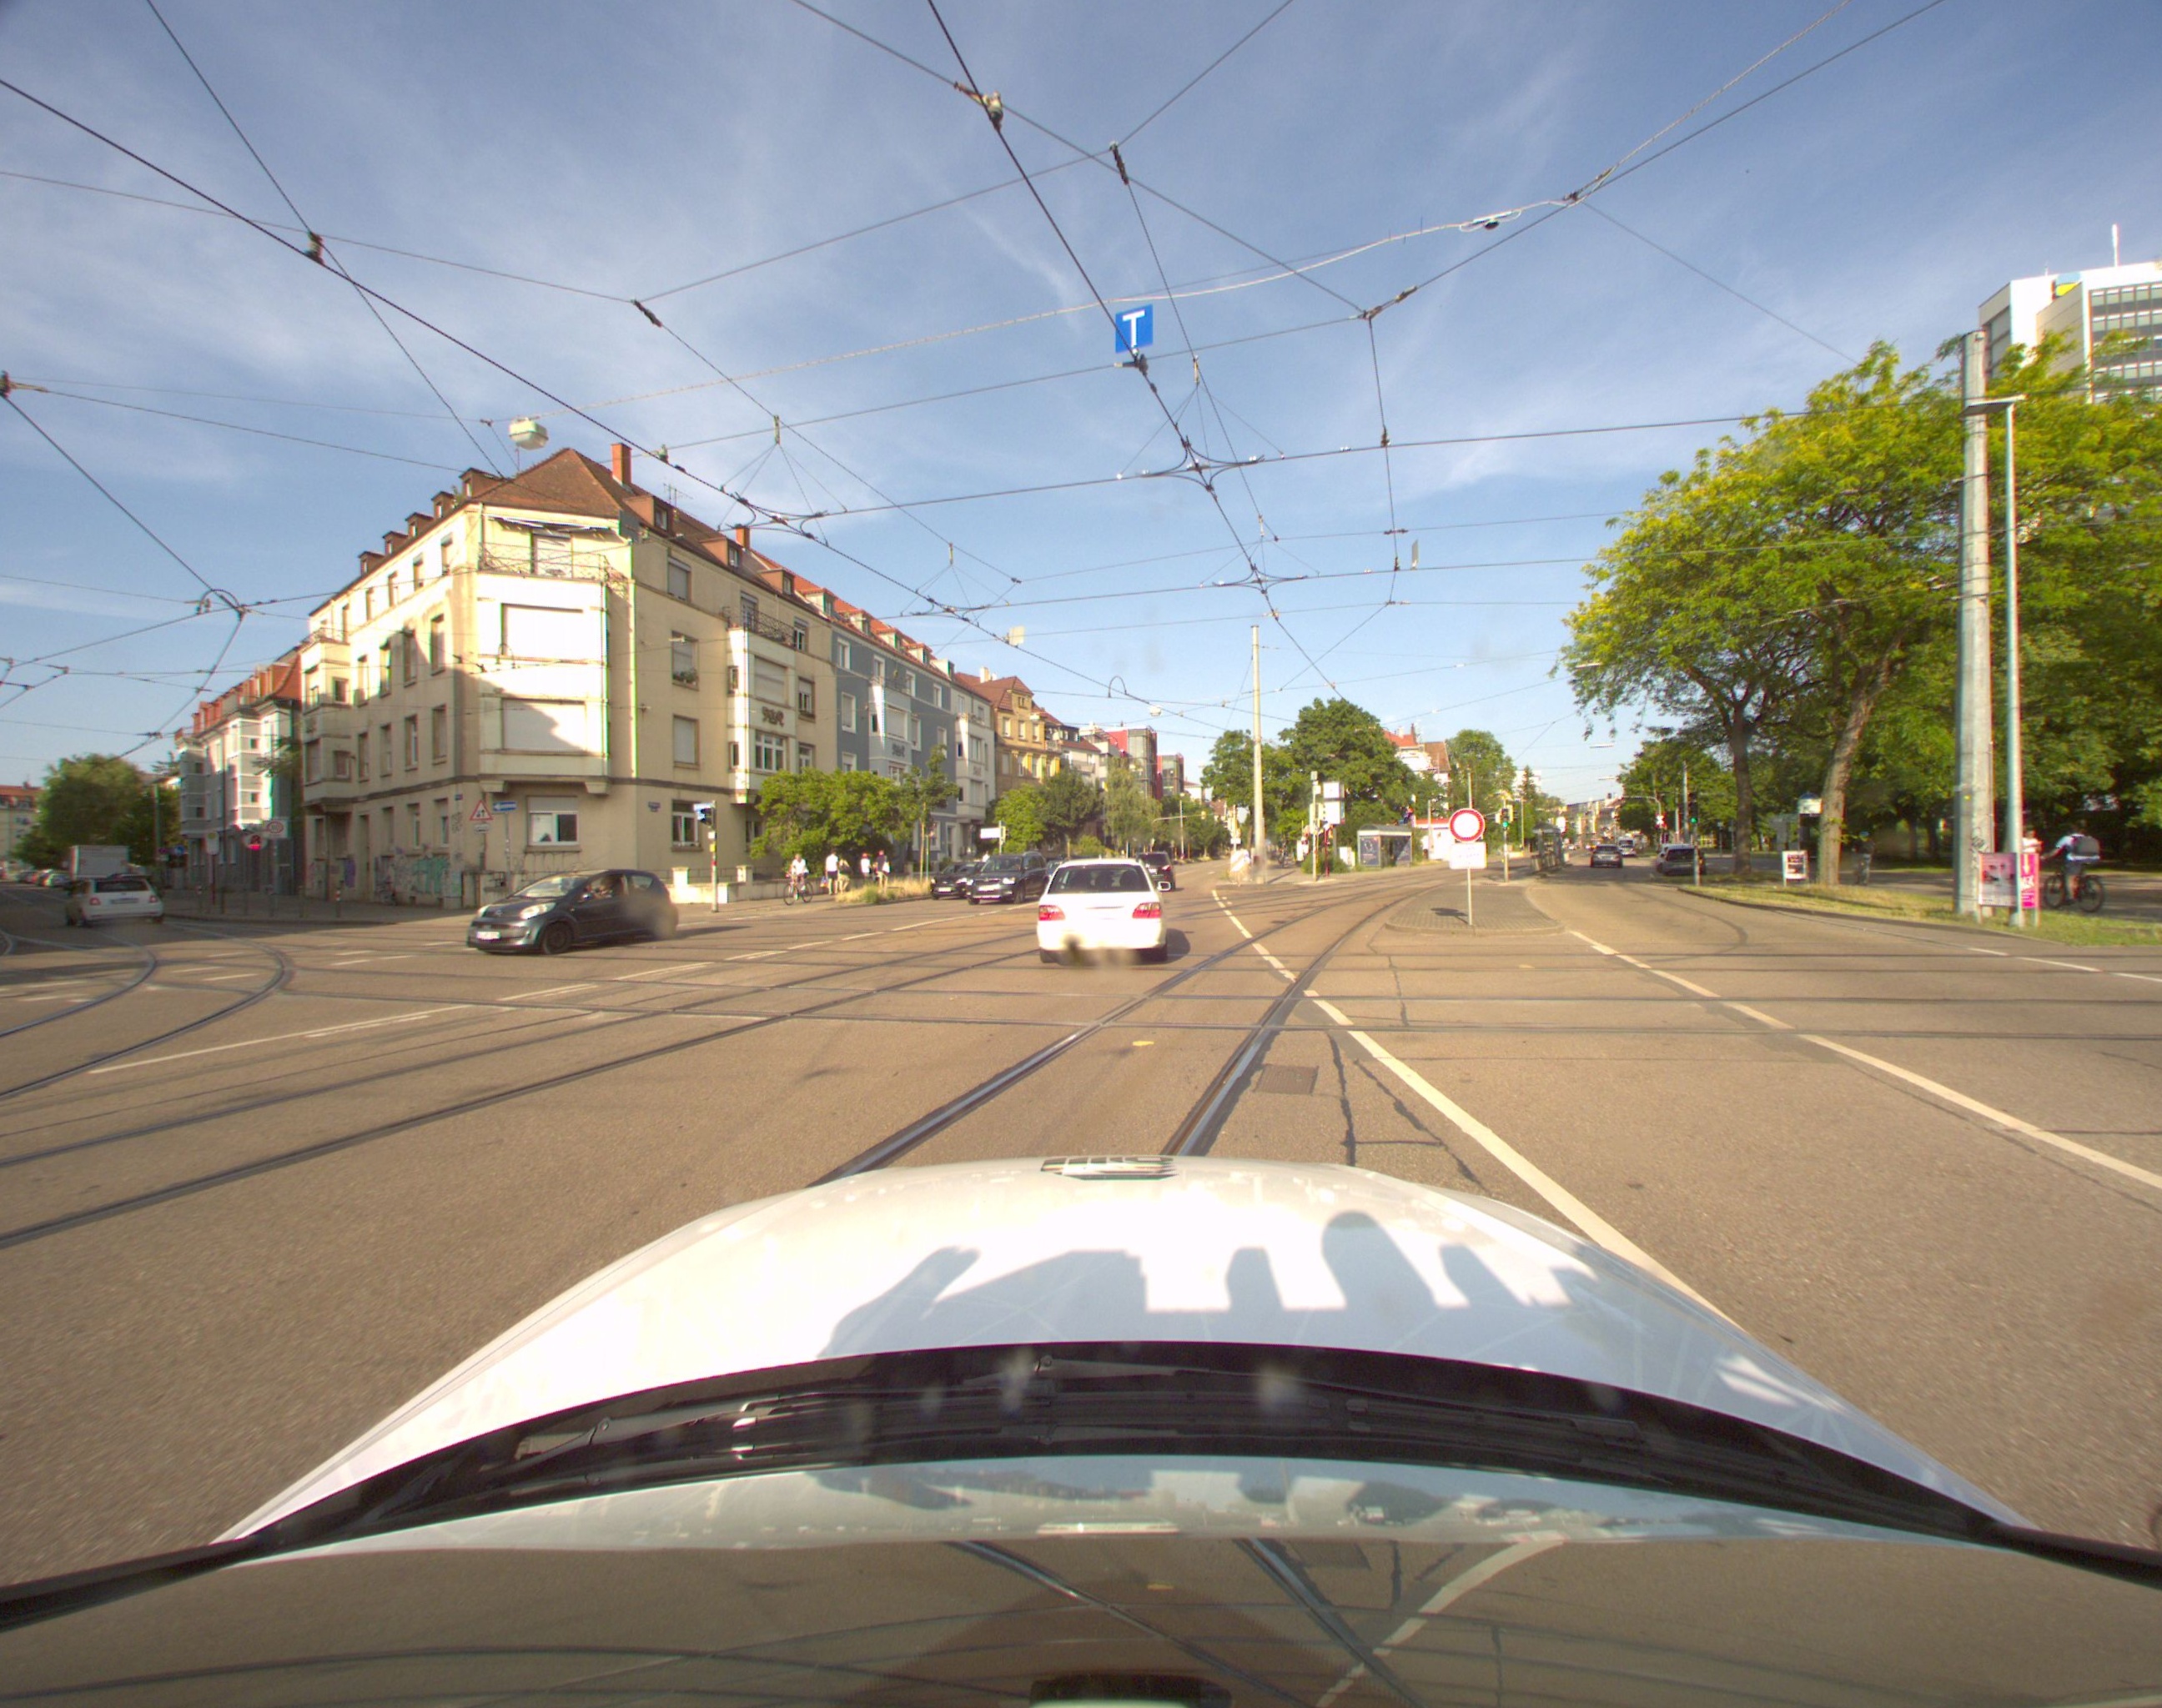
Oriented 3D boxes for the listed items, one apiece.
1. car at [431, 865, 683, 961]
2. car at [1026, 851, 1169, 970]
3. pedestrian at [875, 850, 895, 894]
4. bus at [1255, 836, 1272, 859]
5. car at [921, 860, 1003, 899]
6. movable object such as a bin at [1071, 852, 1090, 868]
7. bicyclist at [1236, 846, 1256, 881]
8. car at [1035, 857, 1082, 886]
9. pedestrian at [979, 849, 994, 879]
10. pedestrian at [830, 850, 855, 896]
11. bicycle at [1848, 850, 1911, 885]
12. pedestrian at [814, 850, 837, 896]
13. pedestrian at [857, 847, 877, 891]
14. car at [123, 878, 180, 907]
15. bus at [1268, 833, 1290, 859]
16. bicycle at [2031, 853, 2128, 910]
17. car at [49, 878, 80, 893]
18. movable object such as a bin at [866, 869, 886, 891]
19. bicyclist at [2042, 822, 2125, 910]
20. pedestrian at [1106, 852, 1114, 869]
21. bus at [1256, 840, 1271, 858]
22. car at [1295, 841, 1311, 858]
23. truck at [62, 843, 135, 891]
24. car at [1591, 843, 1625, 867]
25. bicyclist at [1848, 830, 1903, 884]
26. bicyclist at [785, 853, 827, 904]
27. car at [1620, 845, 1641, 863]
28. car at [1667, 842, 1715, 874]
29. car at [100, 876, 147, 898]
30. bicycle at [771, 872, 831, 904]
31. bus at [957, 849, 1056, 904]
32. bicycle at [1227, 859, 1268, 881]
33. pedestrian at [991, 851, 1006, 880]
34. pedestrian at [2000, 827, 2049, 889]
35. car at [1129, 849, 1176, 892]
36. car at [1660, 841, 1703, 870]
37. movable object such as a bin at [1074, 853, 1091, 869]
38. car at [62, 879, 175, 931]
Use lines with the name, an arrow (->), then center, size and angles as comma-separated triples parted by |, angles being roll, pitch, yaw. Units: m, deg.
car -> -9.394, 0.980, 14.963 | 1.621, 1.433, 3.646 | -1, 0, 19
car -> 0.392, 0.713, 12.347 | 1.826, 1.501, 3.821 | 1, 0, 5
pedestrian -> -8.472, 0.753, 35.192 | 0.580, 1.881, 0.629 | -1, 0, 14
bus -> 21.356, -0.695, 95.340 | 1.786, 2.555, 4.011 | 1, 0, 11
car -> -4.570, 0.949, 31.815 | 1.676, 1.420, 4.016 | -1, -1, 15
movable object such as a bin -> -0.054, 0.579, 74.124 | 1.597, 1.421, 1.085 | -1, 0, 1
bicyclist -> 8.282, 0.459, 40.928 | 0.894, 1.699, 0.734 | -3, 0, 9
car -> -1.203, 0.959, 45.260 | 1.678, 1.441, 4.014 | -1, 0, 12
pedestrian -> -5.730, 0.594, 49.516 | 0.634, 1.751, 0.914 | -1, 0, 12
pedestrian -> -9.779, 0.766, 33.417 | 0.669, 1.848, 0.652 | -1, 0, 16
bicycle -> 26.593, 0.440, 27.152 | 0.636, 1.088, 1.739 | -3, -1, 12
pedestrian -> -10.489, 0.774, 33.467 | 0.654, 1.881, 0.629 | -1, 0, 12
pedestrian -> -9.254, 0.635, 35.293 | 0.580, 1.881, 0.629 | -1, 0, 12
car -> -51.555, 2.115, 45.155 | 3.948, 1.457, 1.811 | -1, 0, 37
bus -> 19.364, -0.757, 79.584 | 1.787, 2.413, 4.011 | 1, 0, 10
bicycle -> 21.138, 0.568, 17.287 | 0.634, 1.088, 1.952 | -4, -1, 31
car -> -105.836, 3.288, 84.776 | 3.948, 1.457, 1.811 | -1, 0, 35
movable object such as a bin -> -9.061, 1.136, 36.035 | 0.578, 0.947, 0.666 | -1, 0, 18
bicyclist -> 20.955, 0.233, 17.046 | 0.642, 1.745, 1.147 | -5, -1, 31
pedestrian -> 2.960, 0.633, 83.307 | 0.634, 1.751, 0.609 | -1, 0, 11
bus -> 24.704, -0.704, 110.480 | 1.787, 2.333, 4.011 | 1, 0, 10
car -> 24.922, -0.502, 91.397 | 1.733, 1.874, 4.017 | -1, 0, 16
truck -> -80.940, 1.057, 67.028 | 9.795, 3.728, 3.278 | -1, 0, 36
car -> 36.368, 0.072, 56.130 | 1.817, 1.600, 3.839 | 1, 0, 35
bicyclist -> 26.587, 0.093, 27.282 | 0.715, 1.745, 1.144 | -4, -1, 12
bicyclist -> -9.414, 0.821, 27.879 | 0.753, 1.668, 1.173 | -1, 0, 21
car -> 64.840, 0.022, 96.066 | 1.974, 2.014, 4.025 | 1, -1, 35
car -> 31.220, 0.185, 41.643 | 1.835, 1.515, 4.026 | -3, -1, 38
car -> -66.625, 2.270, 56.642 | 3.948, 1.457, 1.811 | -1, 0, 36
bicycle -> -9.490, 1.143, 27.683 | 0.762, 0.965, 2.045 | -1, 0, 21
bus -> -2.365, 0.691, 27.071 | 1.830, 1.636, 4.177 | -1, 0, 16
bicycle -> 8.356, 0.816, 40.919 | 1.903, 0.994, 0.728 | -3, 0, 8
pedestrian -> -4.985, 0.700, 49.306 | 0.634, 1.751, 0.914 | -1, 0, 12
pedestrian -> 26.034, 0.110, 22.481 | 0.635, 1.665, 0.694 | -1, 0, 24
car -> 2.920, 0.612, 32.532 | 1.632, 1.600, 3.824 | 1, 0, 9
car -> 34.363, 0.051, 46.588 | 1.835, 1.515, 4.026 | -3, -1, 37
movable object such as a bin -> 0.165, 0.601, 75.259 | 1.528, 1.421, 1.085 | -1, 0, 1
car -> -30.881, 1.582, 26.104 | 3.948, 1.457, 1.811 | -1, 0, 33
